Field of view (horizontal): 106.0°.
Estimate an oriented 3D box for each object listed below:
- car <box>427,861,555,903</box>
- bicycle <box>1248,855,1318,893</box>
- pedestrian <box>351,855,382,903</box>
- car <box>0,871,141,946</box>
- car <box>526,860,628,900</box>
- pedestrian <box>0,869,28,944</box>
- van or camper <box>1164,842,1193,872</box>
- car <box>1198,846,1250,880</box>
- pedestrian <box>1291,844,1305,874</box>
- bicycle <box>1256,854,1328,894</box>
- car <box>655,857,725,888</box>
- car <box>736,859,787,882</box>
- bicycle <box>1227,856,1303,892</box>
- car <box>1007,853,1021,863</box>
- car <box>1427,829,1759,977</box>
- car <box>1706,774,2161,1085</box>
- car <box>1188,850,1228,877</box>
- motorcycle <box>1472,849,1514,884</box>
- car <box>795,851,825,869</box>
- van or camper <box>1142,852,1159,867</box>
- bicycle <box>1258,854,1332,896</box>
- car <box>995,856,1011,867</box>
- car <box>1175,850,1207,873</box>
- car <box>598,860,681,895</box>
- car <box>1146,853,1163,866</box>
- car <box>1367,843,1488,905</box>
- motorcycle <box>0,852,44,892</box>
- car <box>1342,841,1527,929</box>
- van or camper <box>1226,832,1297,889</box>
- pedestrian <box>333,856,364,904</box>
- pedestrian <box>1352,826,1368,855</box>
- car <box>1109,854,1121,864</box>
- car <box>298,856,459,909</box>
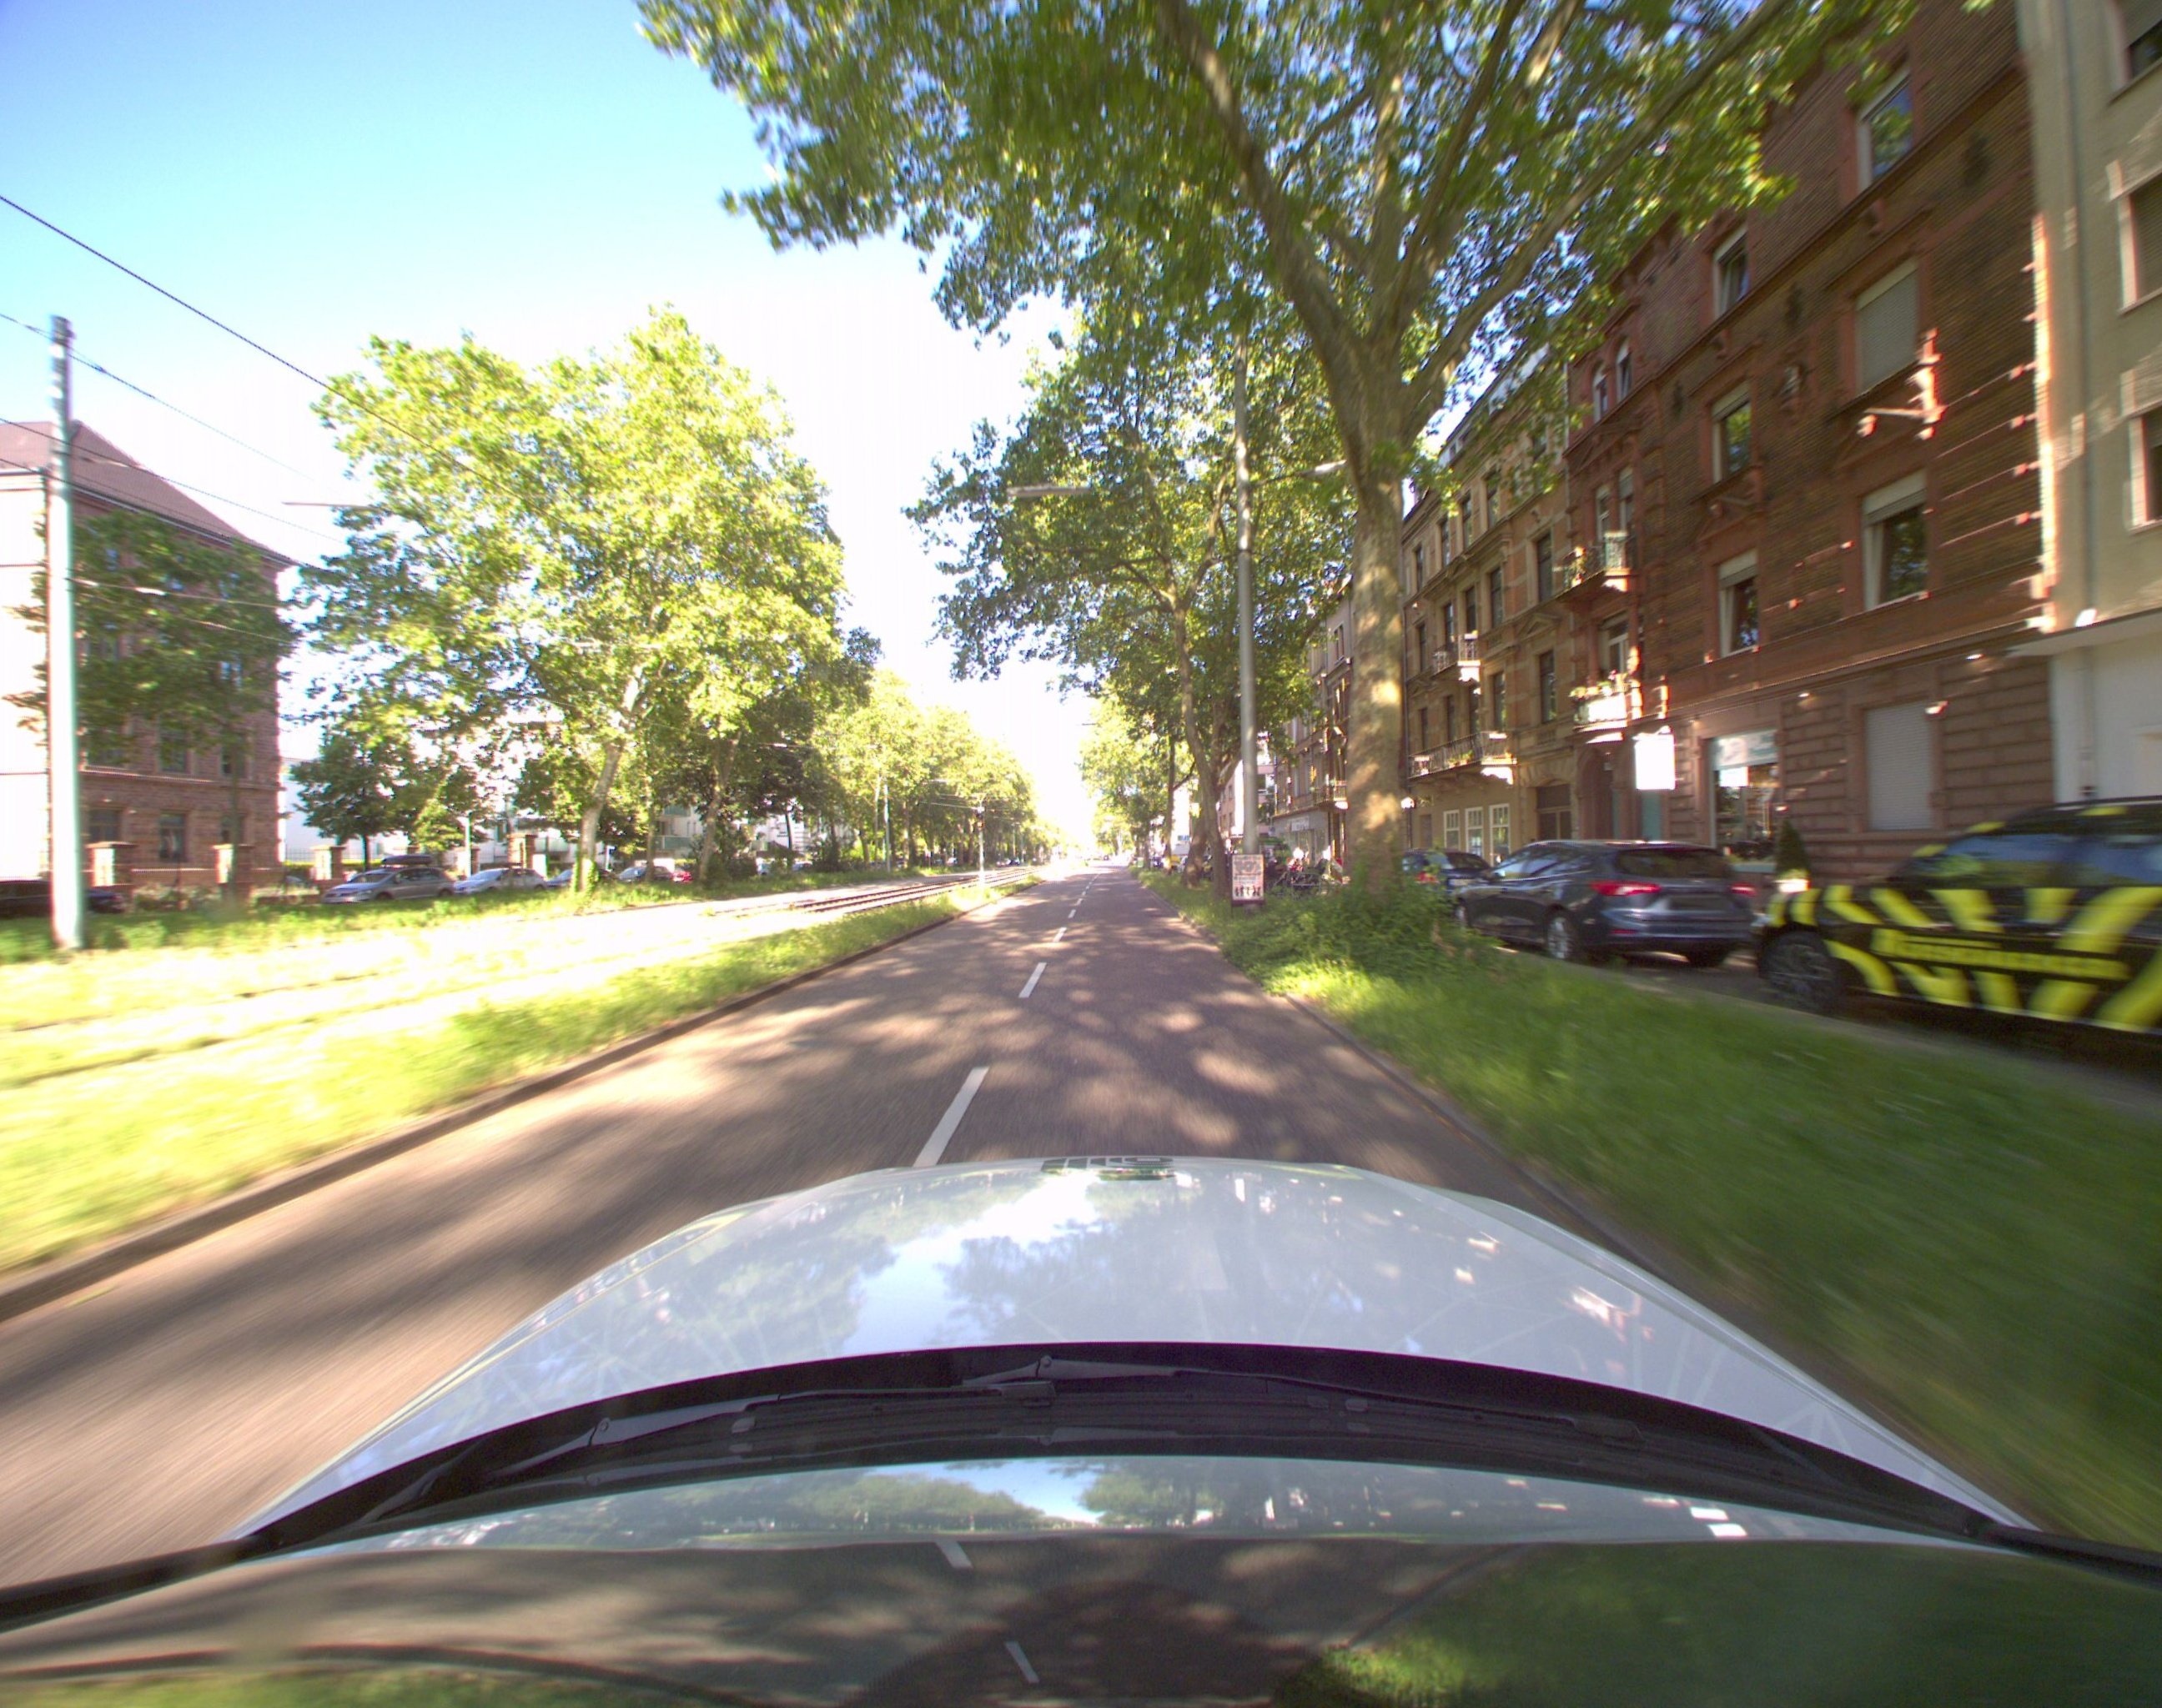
[{"bbox_3d":[-25.428,1.147,35.332,1.984,1.615,4.427,-1,0,6],"label":"car"},{"bbox_3d":[7.020,0.678,28.354,2.163,1.294,0.980,0,0,-9],"label":"bicycle"},{"bbox_3d":[-30.588,1.073,34.856,0.712,2.013,0.626,-1,0,2],"label":"pedestrian"},{"bbox_3d":[-26.008,1.326,19.185,1.986,1.649,4.830,-1,0,2],"label":"car"},{"bbox_3d":[-25.162,1.253,40.906,2.102,1.809,4.738,-1,0,1],"label":"car"},{"bbox_3d":[-29.433,1.437,22.172,0.583,2.014,0.710,-1,0,1],"label":"pedestrian"},{"bbox_3d":[8.404,0.238,70.726,2.174,2.480,6.275,1,0,4],"label":"van or camper"},{"bbox_3d":[7.400,0.455,42.561,1.884,1.647,4.800,2,0,0],"label":"car"},{"bbox_3d":[13.282,0.282,49.832,0.700,1.822,0.612,-1,0,1],"label":"pedestrian"},{"bbox_3d":[6.976,0.661,27.067,2.156,1.294,0.983,0,0,1],"label":"bicycle"},{"bbox_3d":[-24.920,1.160,52.122,2.102,1.809,4.738,-1,0,0],"label":"car"},{"bbox_3d":[-24.921,1.236,63.758,2.022,1.598,5.085,-3,-1,-1],"label":"car"},{"bbox_3d":[6.714,0.709,29.735,2.545,1.294,0.973,0,0,-5],"label":"bicycle"},{"bbox_3d":[-12.786,0.736,156.621,1.985,1.870,4.876,-3,0,3],"label":"car"},{"bbox_3d":[6.319,0.479,10.802,1.688,1.507,4.585,-1,1,3],"label":"car"},{"bbox_3d":[6.175,0.339,4.873,1.689,1.530,4.263,-1,1,2],"label":"car"},{"bbox_3d":[7.388,0.556,47.751,1.731,1.464,4.365,2,0,1],"label":"car"},{"bbox_3d":[13.754,0.417,27.225,0.504,1.124,1.288,-1,0,-13],"label":"motorcycle"},{"bbox_3d":[-32.273,0.720,96.965,1.985,2.013,4.003,-2,0,3],"label":"car"},{"bbox_3d":[8.846,0.697,103.714,1.832,1.963,5.128,0,0,2],"label":"van or camper"},{"bbox_3d":[6.785,0.654,25.920,2.155,1.294,0.984,0,0,3],"label":"bicycle"},{"bbox_3d":[-12.478,1.177,130.304,1.788,1.508,4.341,-4,0,3],"label":"car"},{"bbox_3d":[7.730,0.516,57.439,1.747,1.572,4.185,2,0,1],"label":"car"},{"bbox_3d":[-24.994,1.302,46.323,2.102,1.809,4.737,-1,0,0],"label":"car"},{"bbox_3d":[8.826,0.706,98.383,1.678,1.514,3.666,0,0,-1],"label":"car"},{"bbox_3d":[9.885,0.537,23.613,1.747,1.579,4.185,-2,0,1],"label":"car"},{"bbox_3d":[-29.462,0.495,22.240,0.581,1.052,1.294,-1,1,2],"label":"motorcycle"},{"bbox_3d":[6.532,0.525,15.595,1.827,1.407,4.194,2,0,2],"label":"car"},{"bbox_3d":[7.219,0.262,33.040,1.828,2.098,4.774,2,0,0],"label":"van or camper"},{"bbox_3d":[-31.342,1.115,34.869,0.712,2.013,0.626,-1,0,2],"label":"pedestrian"},{"bbox_3d":[14.505,-0.678,42.343,0.595,1.476,0.768,-1,0,3],"label":"pedestrian"},{"bbox_3d":[6.034,0.850,143.719,2.014,1.662,4.001,-1,0,1],"label":"car"},{"bbox_3d":[-25.526,0.982,29.839,1.759,1.719,4.427,-1,0,6],"label":"car"}]
